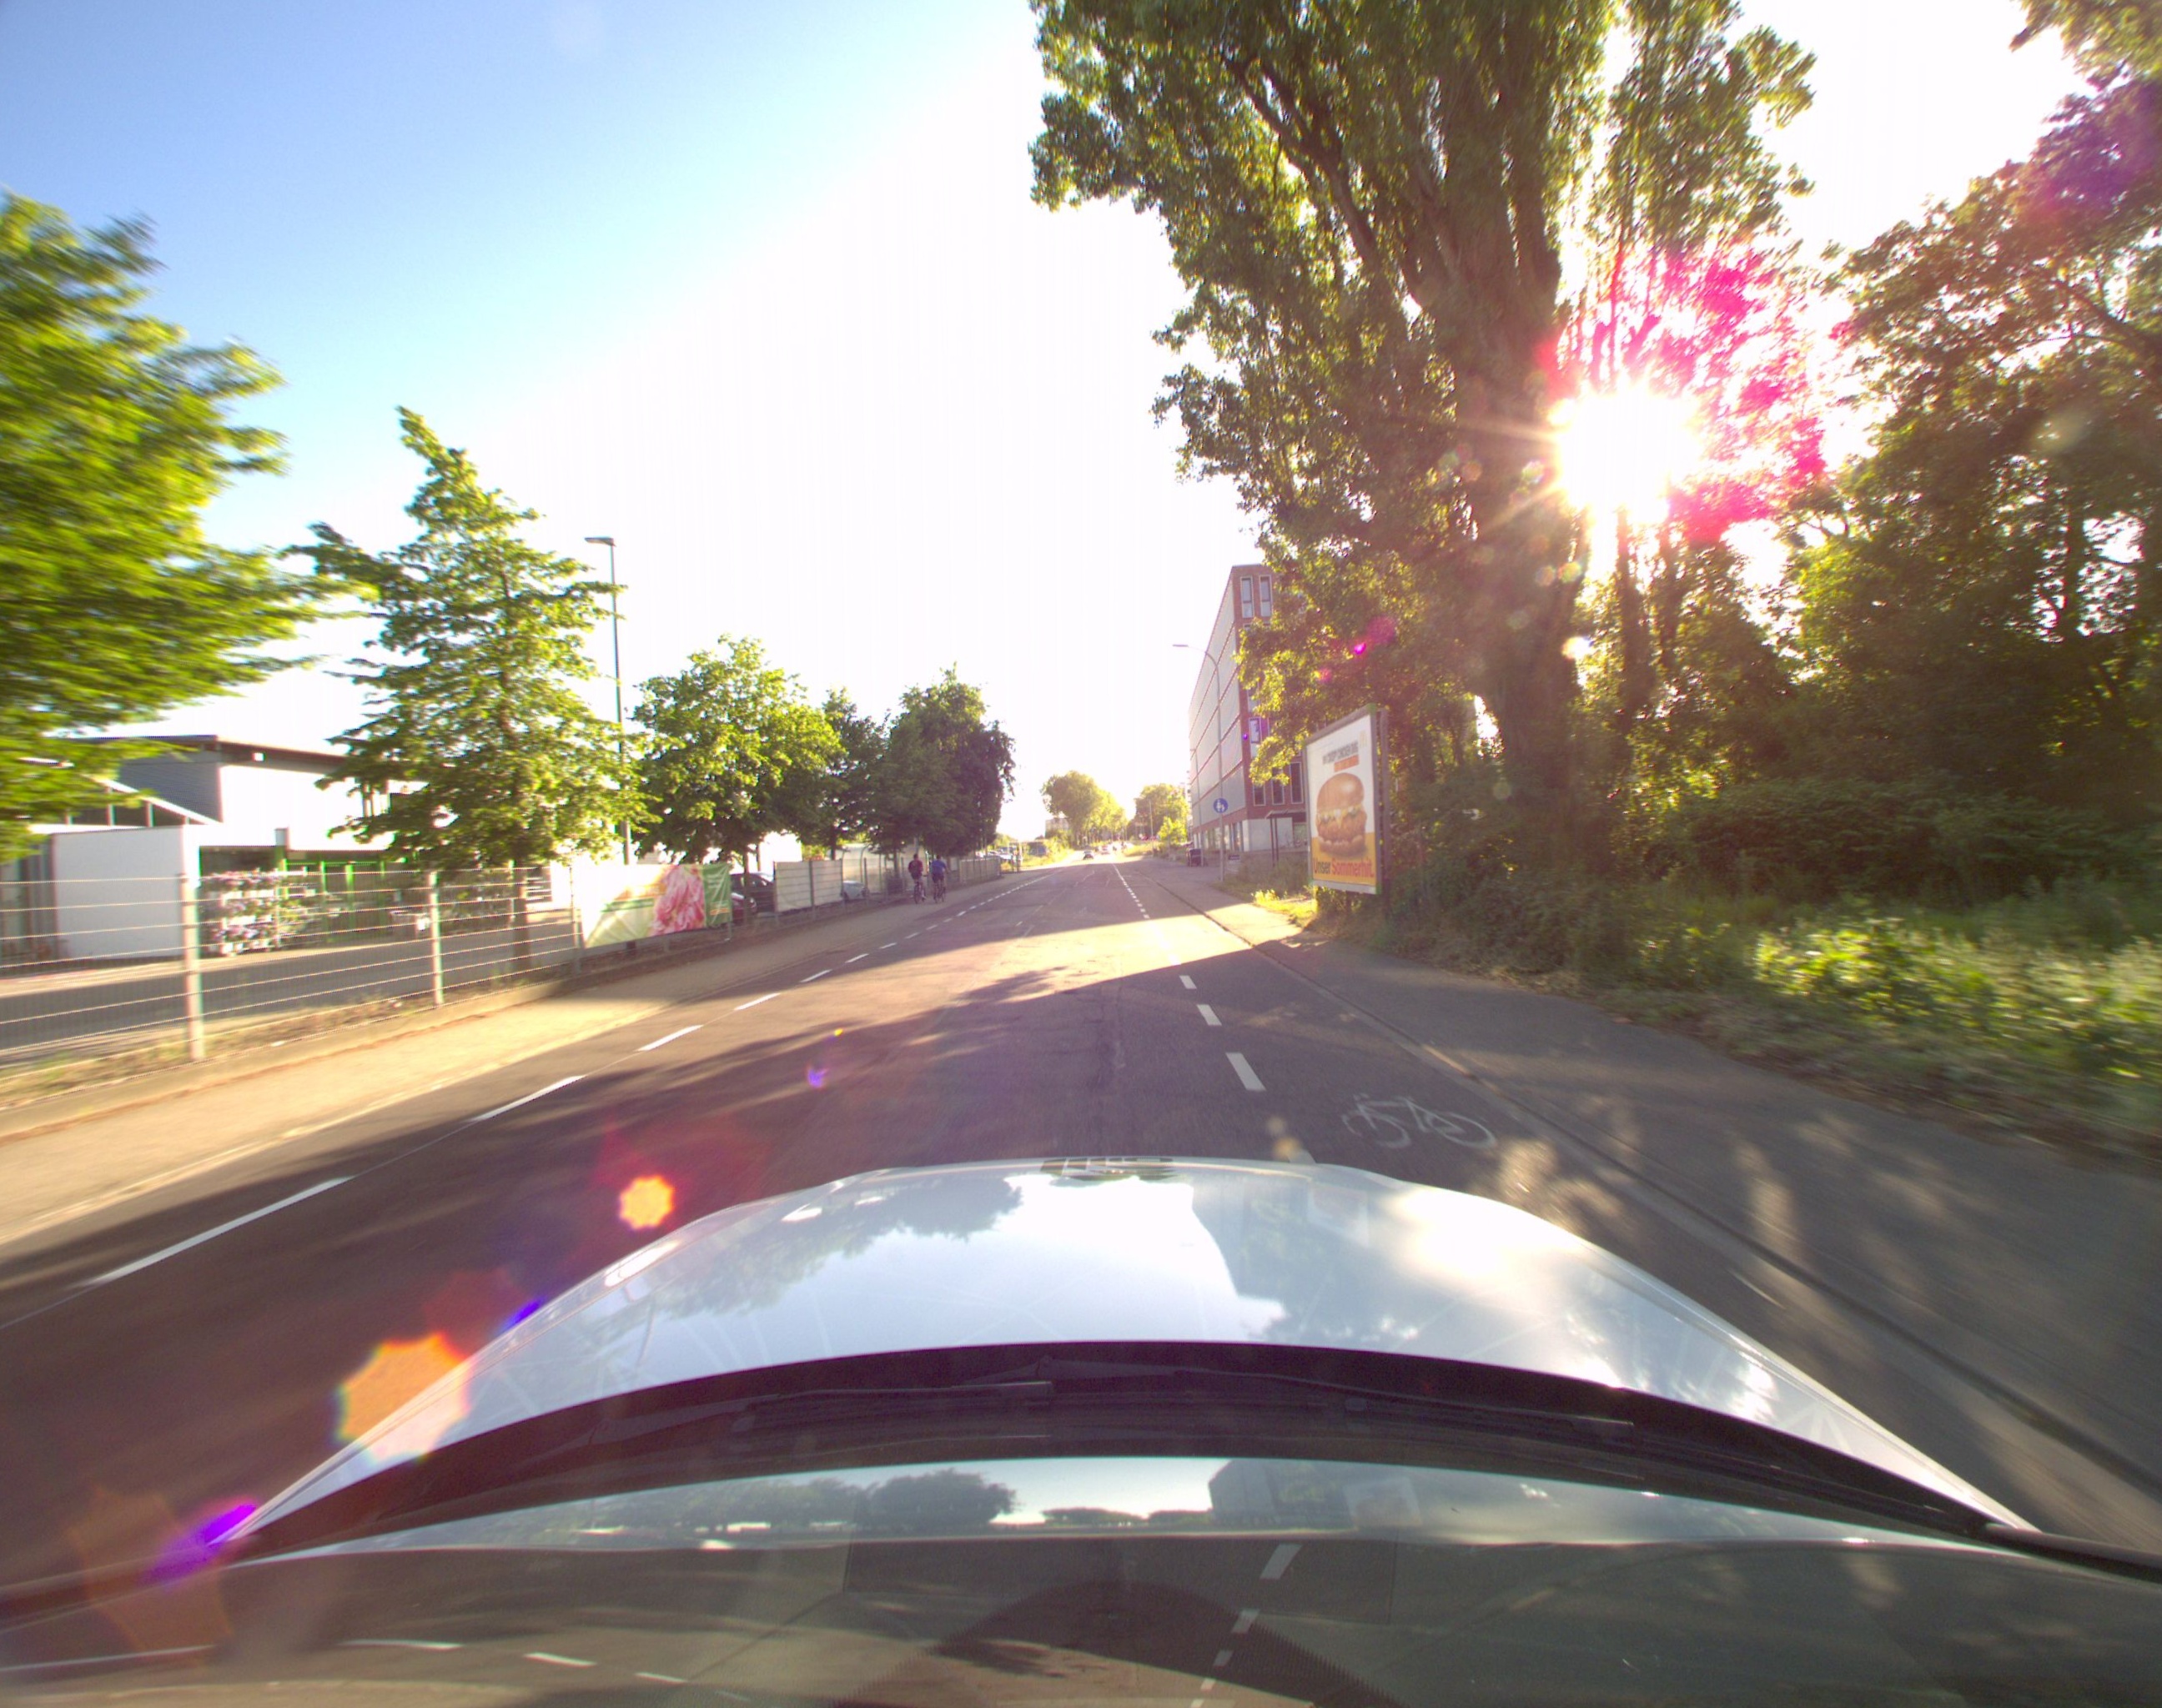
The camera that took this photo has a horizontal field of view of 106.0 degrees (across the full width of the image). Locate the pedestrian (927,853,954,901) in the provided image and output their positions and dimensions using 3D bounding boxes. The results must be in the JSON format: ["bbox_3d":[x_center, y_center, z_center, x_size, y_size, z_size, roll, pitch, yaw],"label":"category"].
[{"bbox_3d":[-5.312,0.853,30.774,0.718,1.720,1.057,-3,0,2],"label":"pedestrian"}]

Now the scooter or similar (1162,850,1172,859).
[{"bbox_3d":[12.263,0.029,115.781,1.334,1.245,0.424,-3,0,5],"label":"scooter or similar"}]

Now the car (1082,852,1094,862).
[{"bbox_3d":[1.162,0.543,137.303,1.735,1.525,4.112,-7,0,1],"label":"car"}]

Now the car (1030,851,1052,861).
[{"bbox_3d":[-9.107,0.447,185.328,4.829,1.834,2.000,-3,0,0],"label":"car"}]

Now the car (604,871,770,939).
[{"bbox_3d":[-11.164,1.413,23.282,3.715,1.451,1.805,-6,0,-1],"label":"car"}]

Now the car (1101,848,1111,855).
[{"bbox_3d":[5.172,-0.516,169.265,1.782,1.420,4.004,-2,1,3],"label":"car"}]

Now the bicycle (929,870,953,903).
[{"bbox_3d":[-5.298,1.197,30.895,0.444,1.148,2.202,-2,0,2],"label":"bicycle"}]

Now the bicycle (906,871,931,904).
[{"bbox_3d":[-6.137,1.235,30.775,0.468,1.148,1.870,-2,0,2],"label":"bicycle"}]

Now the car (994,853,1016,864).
[{"bbox_3d":[-18.506,1.056,198.907,4.909,2.459,2.320,-3,0,0],"label":"car"}]

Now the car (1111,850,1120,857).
[{"bbox_3d":[8.530,-0.090,202.272,2.155,1.684,4.003,-3,0,2],"label":"car"}]

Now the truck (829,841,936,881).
[{"bbox_3d":[-20.205,0.740,83.210,10.064,3.614,2.776,-2,-1,0],"label":"truck"}]

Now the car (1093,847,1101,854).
[{"bbox_3d":[3.877,-0.917,198.788,1.647,1.503,4.002,-4,-1,2],"label":"car"}]

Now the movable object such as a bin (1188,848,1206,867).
[{"bbox_3d":[8.788,0.283,61.801,1.124,1.371,1.345,-3,0,1],"label":"movable object such as a bin"}]

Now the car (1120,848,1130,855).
[{"bbox_3d":[11.160,-0.608,207.616,2.158,1.684,3.998,-3,0,-2],"label":"car"}]

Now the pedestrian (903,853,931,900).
[{"bbox_3d":[-6.203,0.836,30.841,0.718,1.720,1.057,-3,0,2],"label":"pedestrian"}]

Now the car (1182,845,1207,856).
[{"bbox_3d":[20.149,-0.634,144.882,4.164,1.580,1.854,-3,0,5],"label":"car"}]

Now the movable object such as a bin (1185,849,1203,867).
[{"bbox_3d":[8.775,0.282,63.424,1.124,1.336,1.345,-3,0,1],"label":"movable object such as a bin"}]

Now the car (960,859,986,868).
[{"bbox_3d":[-20.079,1.751,151.562,4.305,1.393,1.879,-2,0,2],"label":"car"}]

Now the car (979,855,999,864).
[{"bbox_3d":[-19.587,1.212,173.073,3.869,1.603,1.878,-3,0,0],"label":"car"}]

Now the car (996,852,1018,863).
[{"bbox_3d":[-18.209,0.864,201.577,5.079,2.459,2.320,-3,0,0],"label":"car"}]

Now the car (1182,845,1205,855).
[{"bbox_3d":[20.894,-0.810,151.574,4.164,1.580,1.854,-3,0,5],"label":"car"}]

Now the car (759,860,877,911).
[{"bbox_3d":[-10.160,1.198,31.729,3.879,1.511,1.785,-6,0,-2],"label":"car"}]
